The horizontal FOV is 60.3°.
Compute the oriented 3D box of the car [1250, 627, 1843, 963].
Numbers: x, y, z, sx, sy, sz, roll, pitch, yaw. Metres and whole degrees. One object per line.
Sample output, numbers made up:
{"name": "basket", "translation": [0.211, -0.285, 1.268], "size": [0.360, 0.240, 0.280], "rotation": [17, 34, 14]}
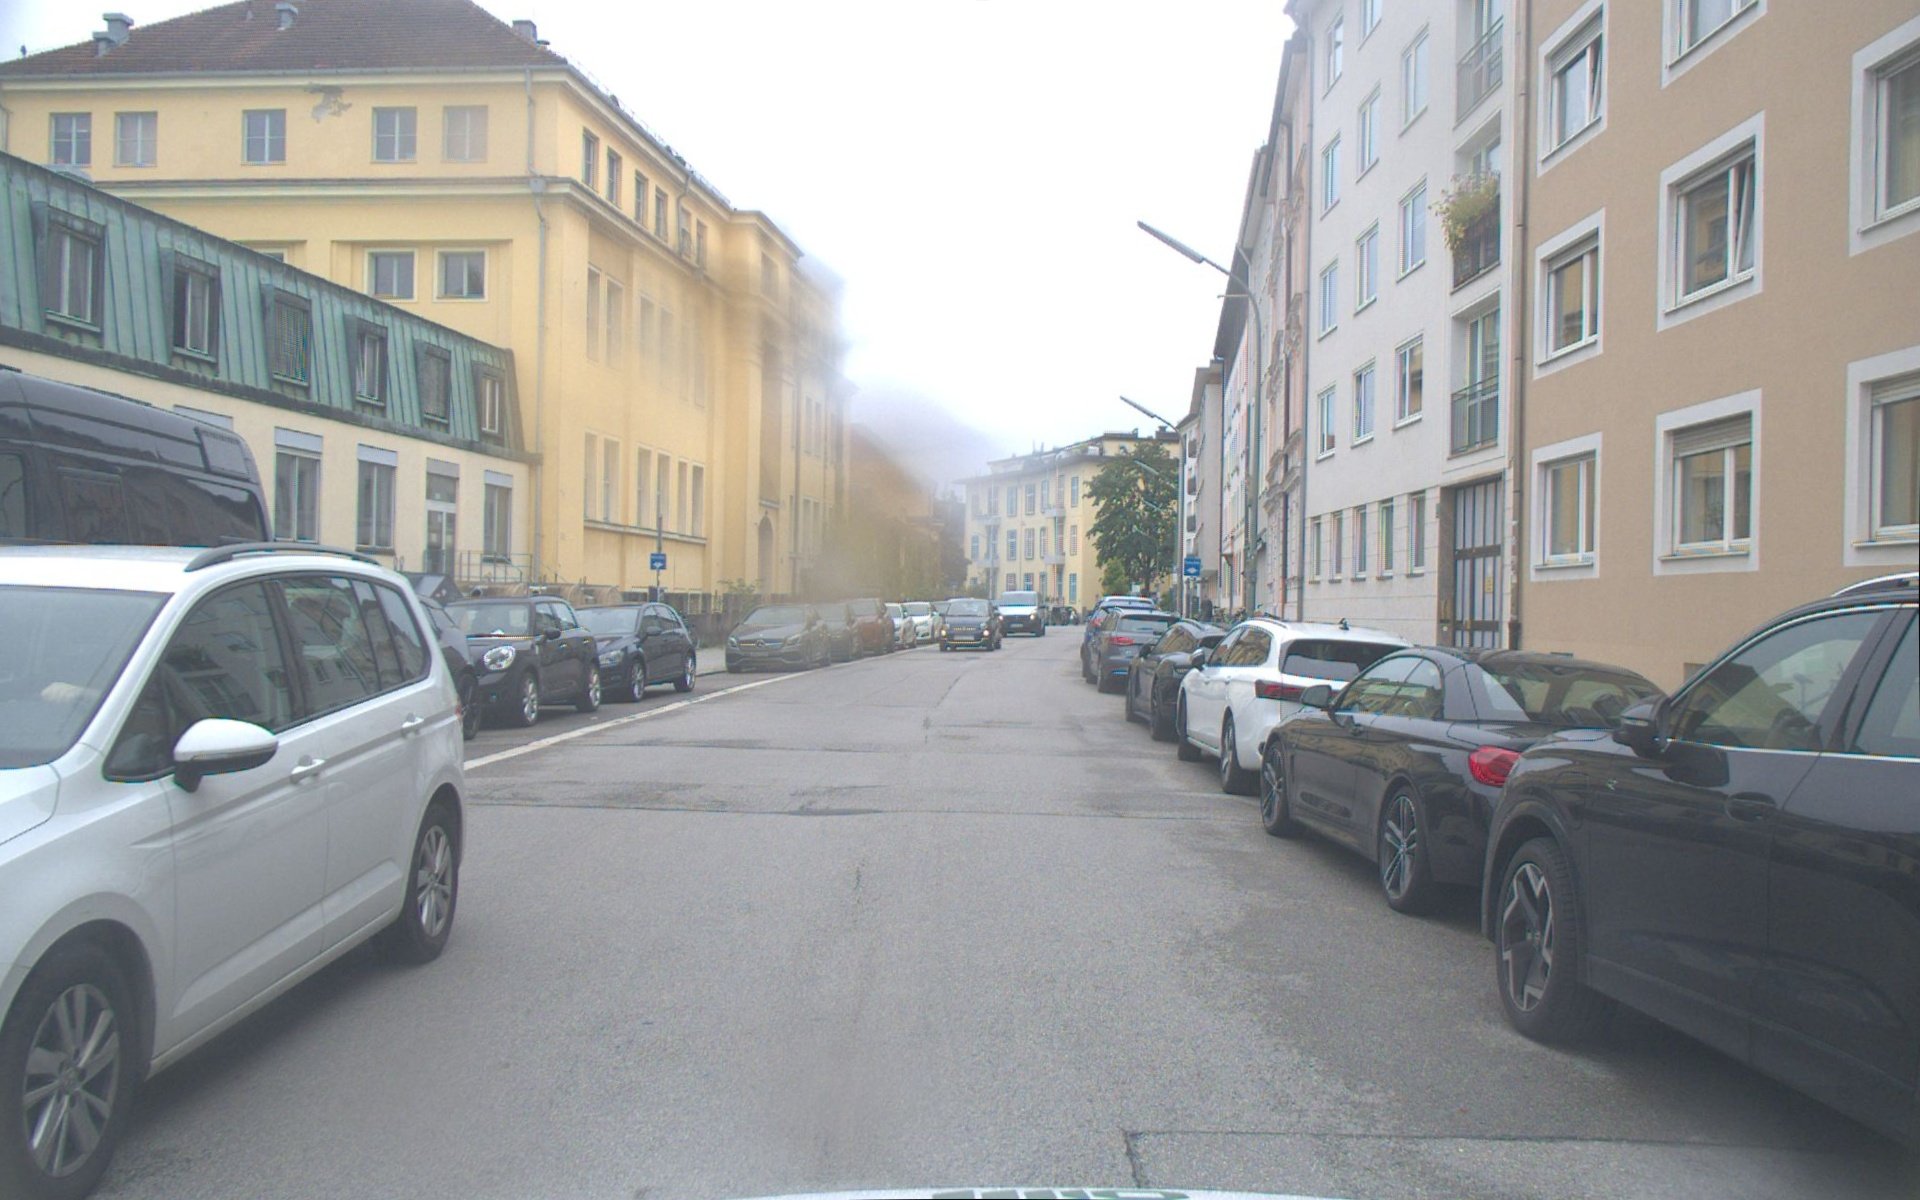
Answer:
{"name": "car", "translation": [3.116, 0.948, 9.850], "size": [1.849, 1.345, 4.273], "rotation": [3, 1, -2]}

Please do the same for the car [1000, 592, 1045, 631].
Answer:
{"name": "car", "translation": [2.588, 0.456, 67.848], "size": [1.662, 1.469, 3.510], "rotation": [3, 1, 4]}

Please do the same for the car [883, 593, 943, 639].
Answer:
{"name": "car", "translation": [-1.635, 0.551, 58.759], "size": [1.662, 1.469, 3.510], "rotation": [3, 1, 5]}

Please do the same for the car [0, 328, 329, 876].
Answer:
{"name": "car", "translation": [-6.033, 0.033, 9.755], "size": [2.372, 2.763, 5.951], "rotation": [0, -1, -1]}

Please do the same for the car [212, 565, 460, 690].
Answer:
{"name": "car", "translation": [-9.672, 0.380, 26.011], "size": [1.951, 1.716, 4.003], "rotation": [3, 1, 7]}

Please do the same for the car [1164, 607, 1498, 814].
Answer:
{"name": "car", "translation": [3.159, 0.863, 15.135], "size": [1.849, 1.501, 4.742], "rotation": [3, 0, -1]}

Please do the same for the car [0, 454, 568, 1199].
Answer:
{"name": "car", "translation": [-2.856, 0.599, 5.301], "size": [1.984, 1.650, 4.506], "rotation": [-1, -2, 2]}

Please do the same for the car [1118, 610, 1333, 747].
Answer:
{"name": "car", "translation": [3.186, 0.895, 20.712], "size": [1.849, 1.434, 4.430], "rotation": [3, 0, -1]}

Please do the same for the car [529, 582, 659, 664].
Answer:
{"name": "car", "translation": [-8.251, 0.473, 37.596], "size": [1.683, 1.689, 3.751], "rotation": [3, 1, 7]}

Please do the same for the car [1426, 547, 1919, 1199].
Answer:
{"name": "car", "translation": [2.983, 0.732, 4.385], "size": [1.925, 1.629, 4.669], "rotation": [3, 1, -3]}

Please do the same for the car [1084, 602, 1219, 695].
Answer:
{"name": "car", "translation": [3.318, 0.808, 29.440], "size": [1.848, 1.434, 4.431], "rotation": [3, 0, 0]}

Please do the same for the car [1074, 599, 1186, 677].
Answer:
{"name": "car", "translation": [3.468, 0.755, 34.520], "size": [1.848, 1.434, 4.431], "rotation": [3, 0, 0]}

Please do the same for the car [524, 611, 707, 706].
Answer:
{"name": "car", "translation": [-5.198, 0.840, 25.420], "size": [1.496, 1.223, 3.744], "rotation": [3, 1, 8]}

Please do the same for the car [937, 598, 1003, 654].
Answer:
{"name": "car", "translation": [0.332, 0.737, 49.079], "size": [1.662, 1.469, 3.510], "rotation": [3, 1, 4]}

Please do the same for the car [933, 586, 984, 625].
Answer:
{"name": "car", "translation": [-0.034, 0.215, 73.995], "size": [1.952, 1.575, 4.002], "rotation": [3, 1, 4]}

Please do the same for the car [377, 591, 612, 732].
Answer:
{"name": "car", "translation": [-5.698, 0.690, 20.699], "size": [1.663, 1.478, 3.743], "rotation": [3, 1, 3]}

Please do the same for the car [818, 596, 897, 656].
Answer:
{"name": "car", "translation": [-2.805, 0.682, 45.745], "size": [1.662, 1.469, 3.510], "rotation": [3, 1, 4]}

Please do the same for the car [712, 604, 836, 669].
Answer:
{"name": "car", "translation": [-3.969, 0.756, 35.968], "size": [1.860, 1.167, 4.233], "rotation": [3, 1, 4]}

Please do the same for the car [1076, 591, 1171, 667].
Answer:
{"name": "car", "translation": [3.925, 0.682, 40.330], "size": [1.848, 1.658, 4.431], "rotation": [3, 0, 0]}

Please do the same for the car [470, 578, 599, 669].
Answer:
{"name": "car", "translation": [-8.658, 0.444, 33.851], "size": [1.571, 1.689, 2.811], "rotation": [3, 1, 7]}

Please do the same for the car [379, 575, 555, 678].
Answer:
{"name": "car", "translation": [-8.968, 0.439, 30.376], "size": [1.683, 1.689, 3.751], "rotation": [3, 1, 7]}

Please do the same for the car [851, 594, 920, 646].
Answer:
{"name": "car", "translation": [-2.277, 0.590, 51.321], "size": [1.662, 1.469, 3.510], "rotation": [3, 1, 5]}
